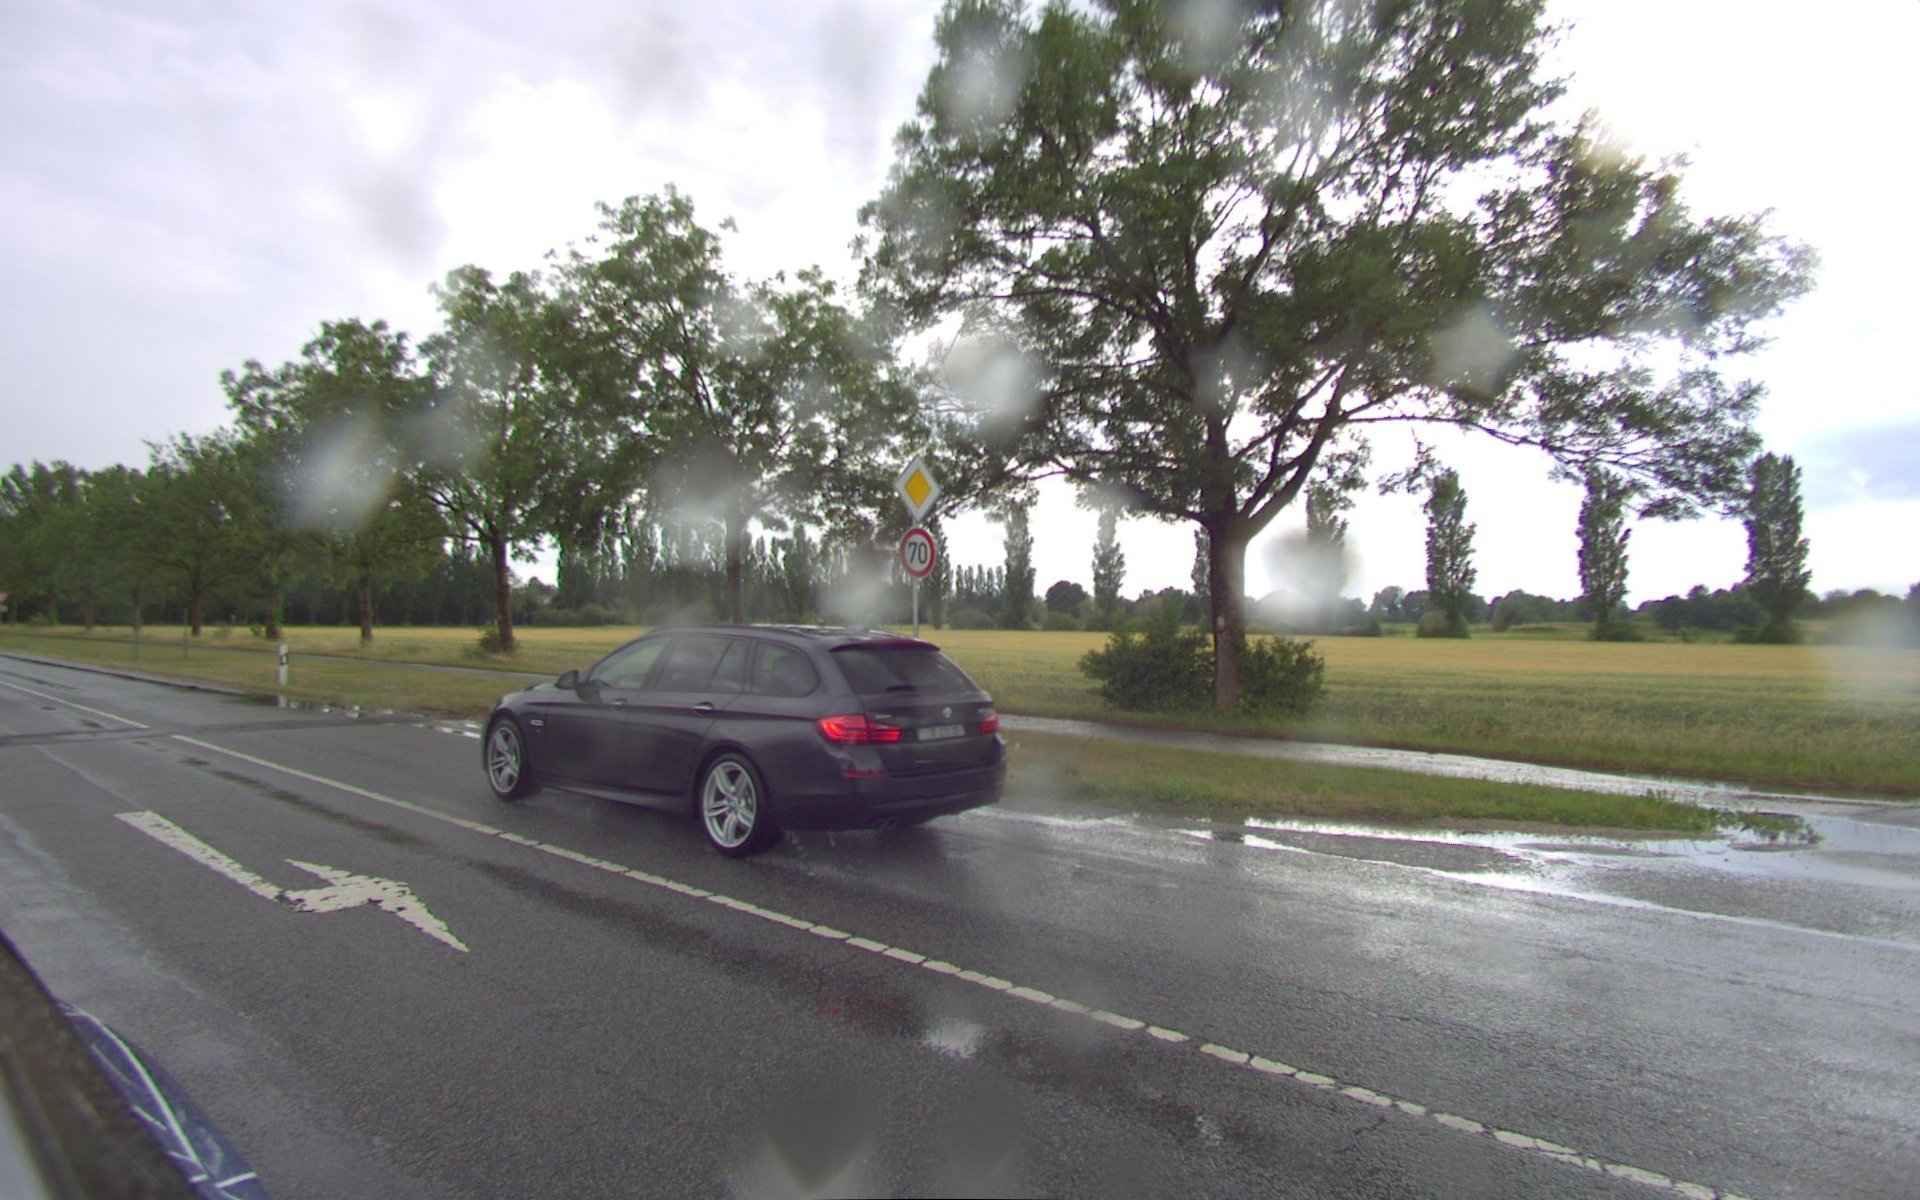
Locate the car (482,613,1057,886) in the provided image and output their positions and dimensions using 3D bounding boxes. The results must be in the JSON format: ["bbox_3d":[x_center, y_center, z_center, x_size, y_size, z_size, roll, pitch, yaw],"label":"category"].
[{"bbox_3d":[-1.608,0.869,7.493,4.409,1.449,1.748,-1,-4,40],"label":"car"}]
